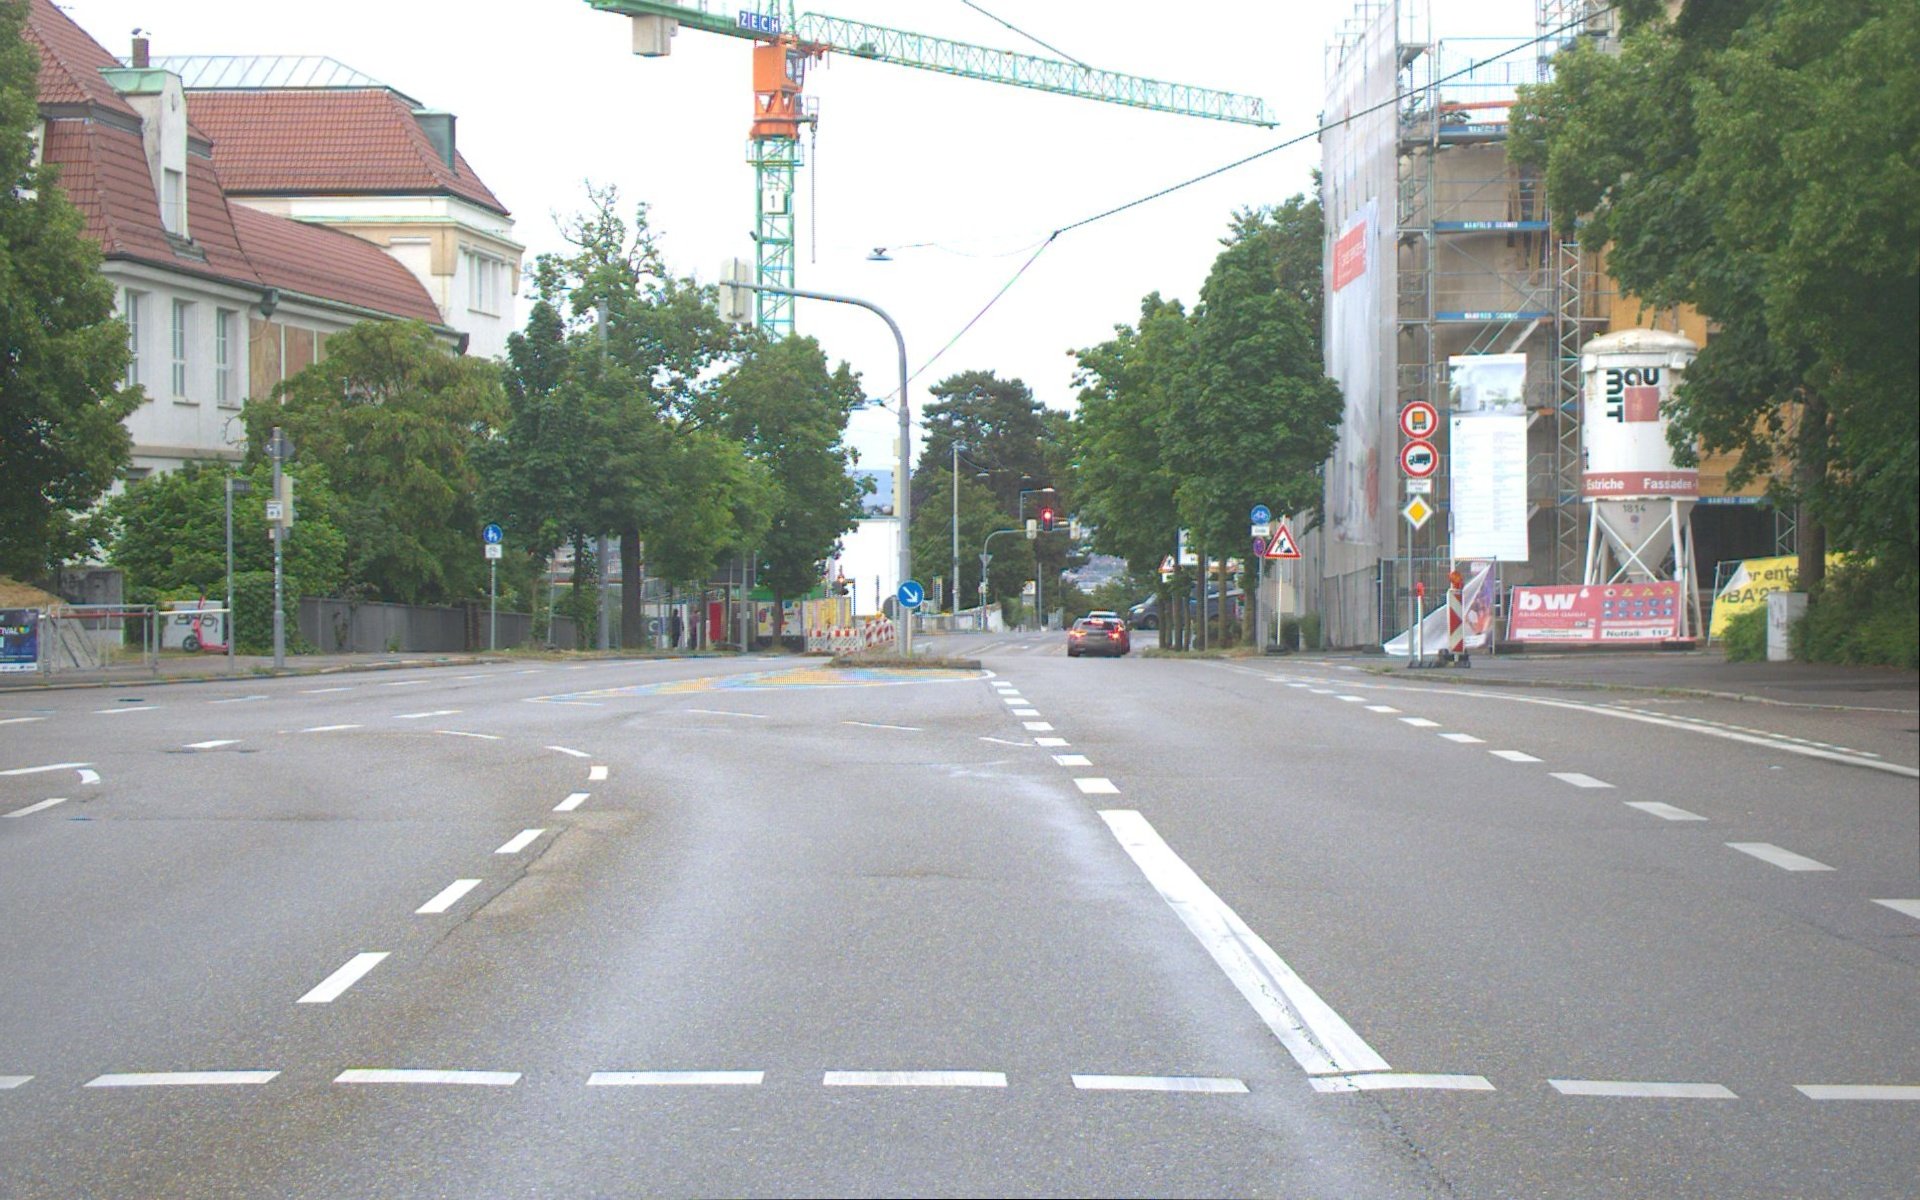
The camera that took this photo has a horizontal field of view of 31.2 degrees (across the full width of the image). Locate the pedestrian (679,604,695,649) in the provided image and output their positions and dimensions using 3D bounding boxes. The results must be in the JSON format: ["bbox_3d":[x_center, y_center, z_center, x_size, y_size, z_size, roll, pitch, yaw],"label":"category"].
[{"bbox_3d":[-10.097,0.972,127.309,0.493,1.640,0.533,1,0,5],"label":"pedestrian"}]

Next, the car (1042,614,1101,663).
[{"bbox_3d":[4.232,1.443,130.958,1.993,1.744,4.000,-1,1,-1],"label":"car"}]

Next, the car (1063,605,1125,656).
[{"bbox_3d":[4.834,1.092,124.791,1.993,1.744,4.000,-1,1,-1],"label":"car"}]

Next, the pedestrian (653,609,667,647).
[{"bbox_3d":[-11.118,1.031,127.285,0.474,1.391,0.411,-1,1,-1],"label":"pedestrian"}]

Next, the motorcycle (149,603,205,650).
[{"bbox_3d":[-14.785,0.499,64.938,0.849,0.874,0.877,1,0,-1],"label":"motorcycle"}]

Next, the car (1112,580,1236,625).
[{"bbox_3d":[11.564,0.139,185.432,6.167,2.394,2.857,0,1,-34],"label":"car"}]
